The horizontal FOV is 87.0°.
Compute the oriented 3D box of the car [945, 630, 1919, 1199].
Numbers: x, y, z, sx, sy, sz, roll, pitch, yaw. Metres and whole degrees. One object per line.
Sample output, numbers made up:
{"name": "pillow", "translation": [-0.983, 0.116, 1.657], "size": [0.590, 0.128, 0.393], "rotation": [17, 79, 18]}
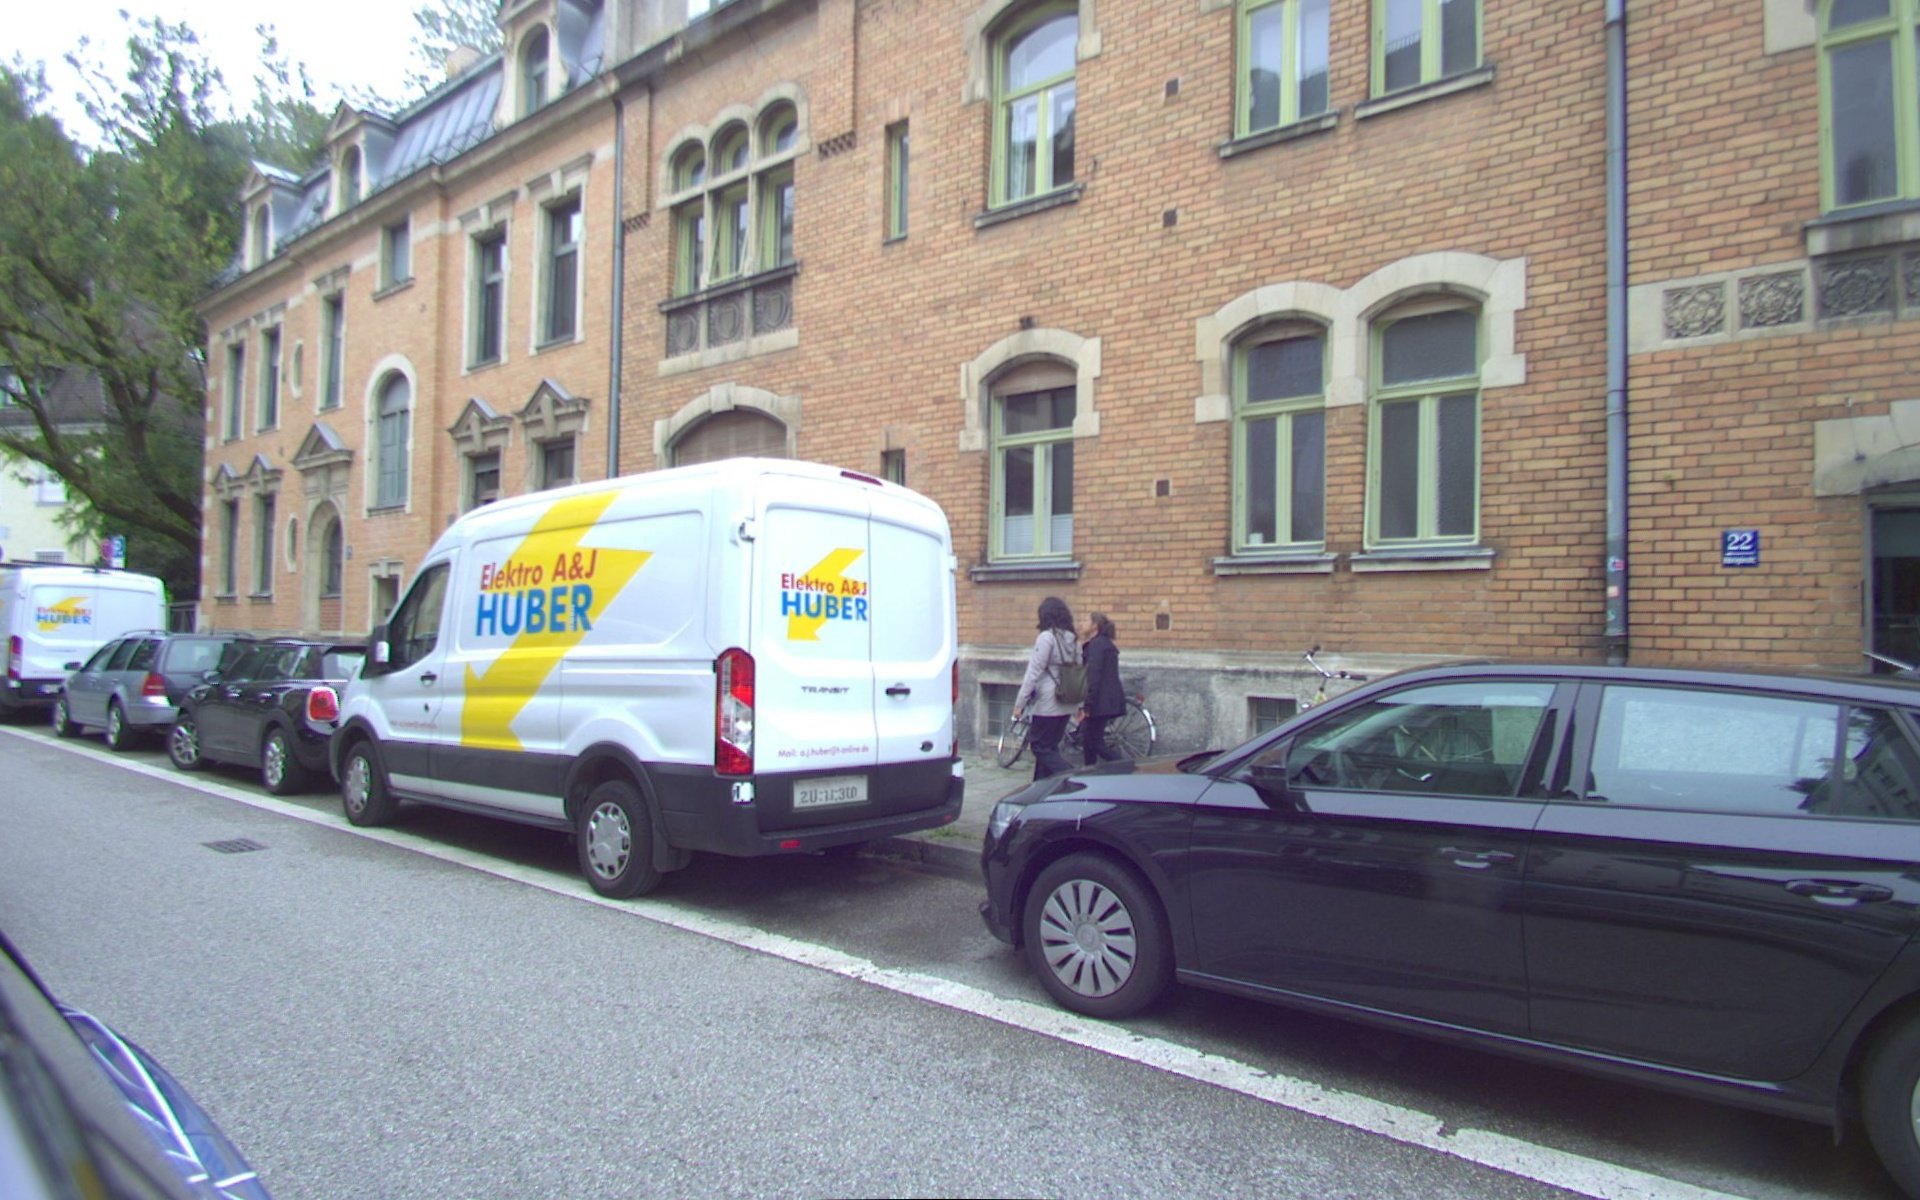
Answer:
{"name": "car", "translation": [2.098, 0.873, 3.732], "size": [4.138, 1.454, 1.674], "rotation": [-1, -4, 37]}

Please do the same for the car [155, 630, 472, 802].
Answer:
{"name": "car", "translation": [-6.640, 1.070, 10.298], "size": [3.534, 1.454, 1.509], "rotation": [-1, -5, 37]}

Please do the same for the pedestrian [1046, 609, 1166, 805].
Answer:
{"name": "pedestrian", "translation": [1.219, 0.841, 8.429], "size": [0.727, 1.524, 0.688], "rotation": [-1, 0, 40]}

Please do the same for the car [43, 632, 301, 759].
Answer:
{"name": "car", "translation": [-10.599, 1.192, 13.535], "size": [3.977, 1.454, 1.674], "rotation": [-1, -5, 37]}

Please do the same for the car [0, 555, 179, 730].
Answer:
{"name": "car", "translation": [-15.193, 0.763, 16.995], "size": [4.414, 2.560, 2.093], "rotation": [-2, -6, 38]}

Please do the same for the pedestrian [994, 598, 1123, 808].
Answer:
{"name": "pedestrian", "translation": [0.767, 0.748, 7.847], "size": [0.727, 1.524, 0.688], "rotation": [-1, 0, 40]}

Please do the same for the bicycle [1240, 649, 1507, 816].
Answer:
{"name": "bicycle", "translation": [3.192, 0.970, 7.916], "size": [1.825, 1.137, 0.625], "rotation": [-1, -2, 38]}

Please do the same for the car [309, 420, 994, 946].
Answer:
{"name": "car", "translation": [-2.453, 0.473, 7.209], "size": [5.215, 2.497, 1.962], "rotation": [-1, -4, 38]}

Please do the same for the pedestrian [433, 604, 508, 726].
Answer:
{"name": "pedestrian", "translation": [-6.859, 0.903, 14.184], "size": [0.674, 1.645, 0.626], "rotation": [-1, -4, 37]}

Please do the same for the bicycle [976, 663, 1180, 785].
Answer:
{"name": "bicycle", "translation": [1.074, 1.126, 9.576], "size": [1.921, 0.993, 0.496], "rotation": [-2, -1, 38]}
